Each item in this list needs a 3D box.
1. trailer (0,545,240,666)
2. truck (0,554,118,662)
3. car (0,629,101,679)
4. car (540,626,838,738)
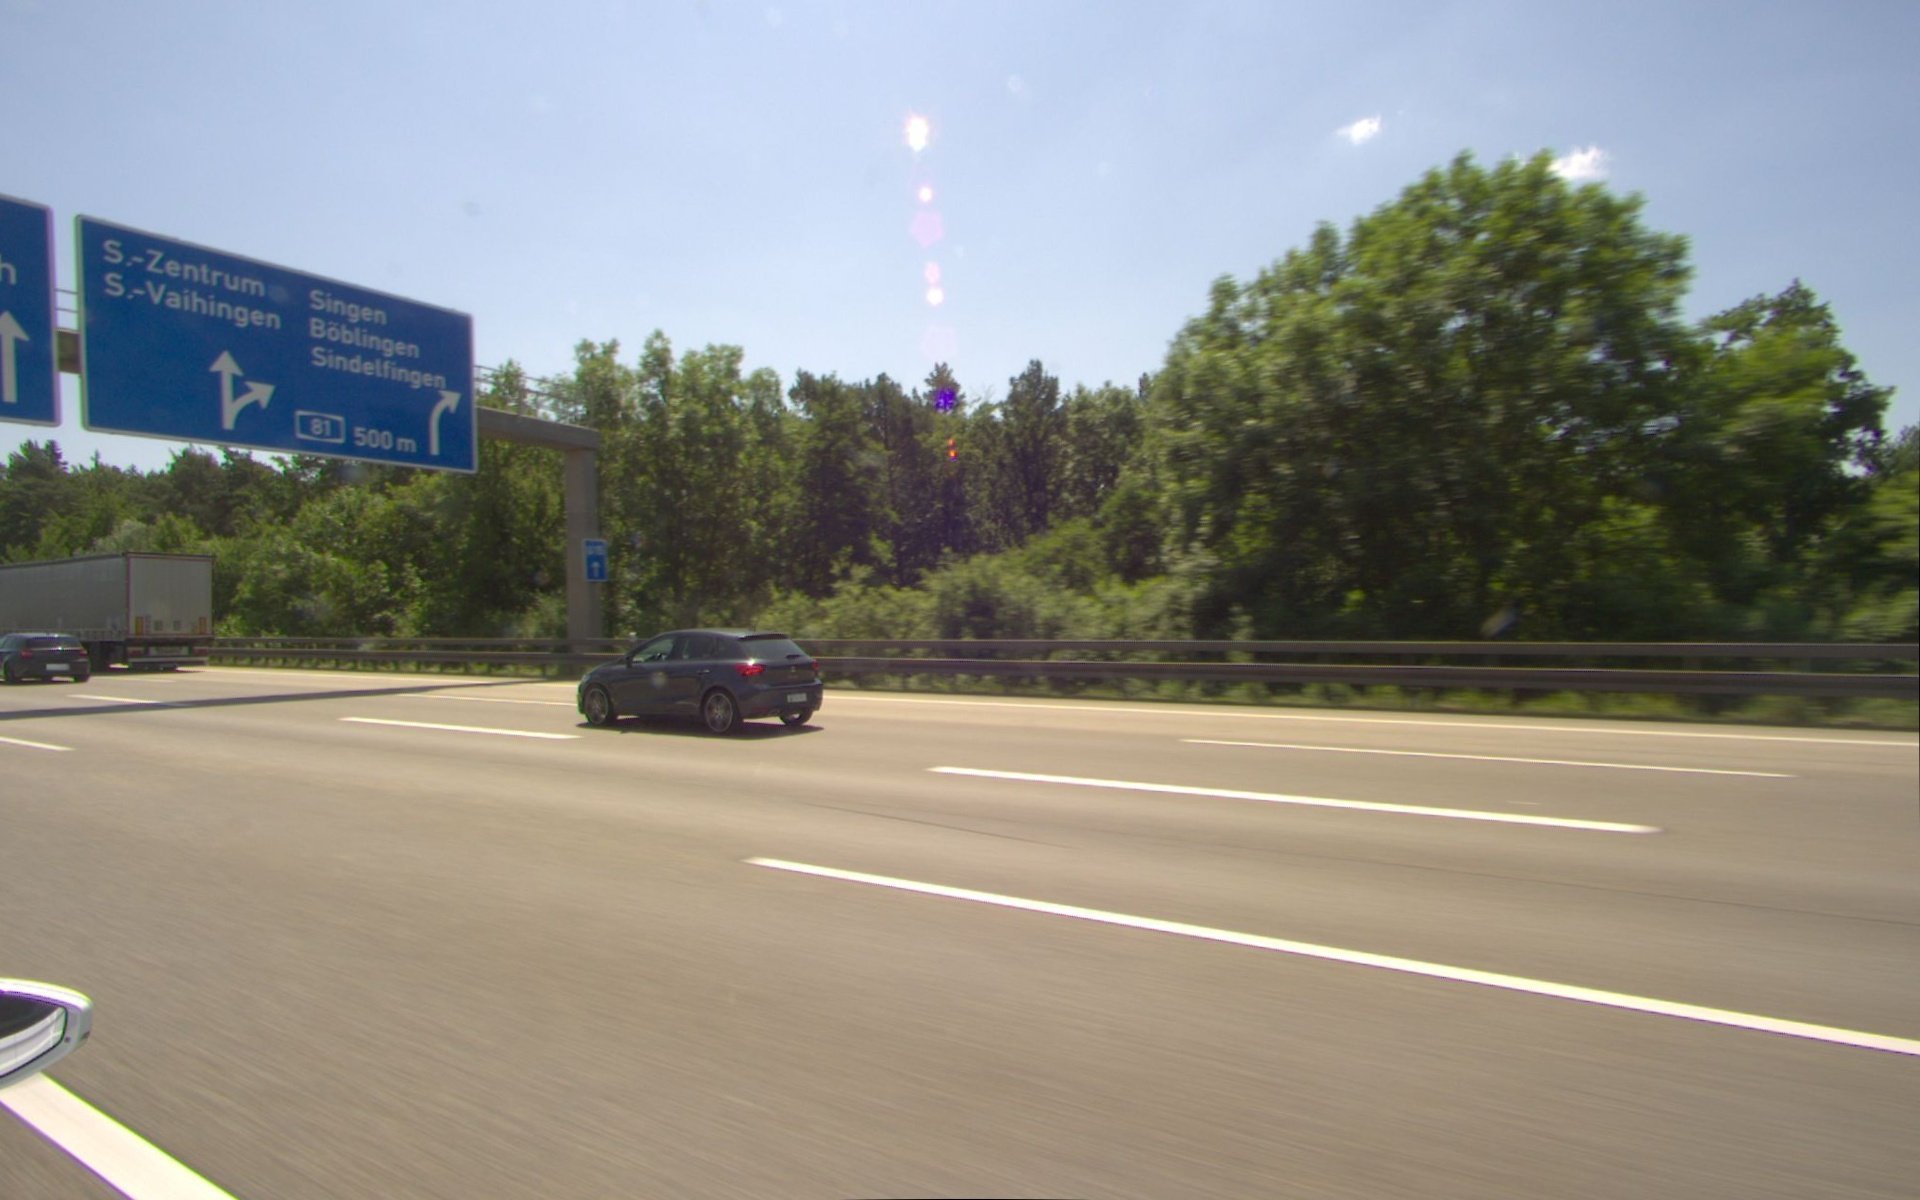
[{"bbox_3d":[-32.550,0.303,38.172,13.689,3.981,3.282,-1,-1,32],"label":"trailer"},{"bbox_3d":[-38.324,0.383,41.752,5.901,4.160,3.249,-1,-1,32],"label":"truck"},{"bbox_3d":[-26.502,1.543,28.709,4.230,1.290,1.667,-2,-1,32],"label":"car"},{"bbox_3d":[-4.130,1.129,14.997,4.568,1.457,1.640,-1,-2,32],"label":"car"}]
